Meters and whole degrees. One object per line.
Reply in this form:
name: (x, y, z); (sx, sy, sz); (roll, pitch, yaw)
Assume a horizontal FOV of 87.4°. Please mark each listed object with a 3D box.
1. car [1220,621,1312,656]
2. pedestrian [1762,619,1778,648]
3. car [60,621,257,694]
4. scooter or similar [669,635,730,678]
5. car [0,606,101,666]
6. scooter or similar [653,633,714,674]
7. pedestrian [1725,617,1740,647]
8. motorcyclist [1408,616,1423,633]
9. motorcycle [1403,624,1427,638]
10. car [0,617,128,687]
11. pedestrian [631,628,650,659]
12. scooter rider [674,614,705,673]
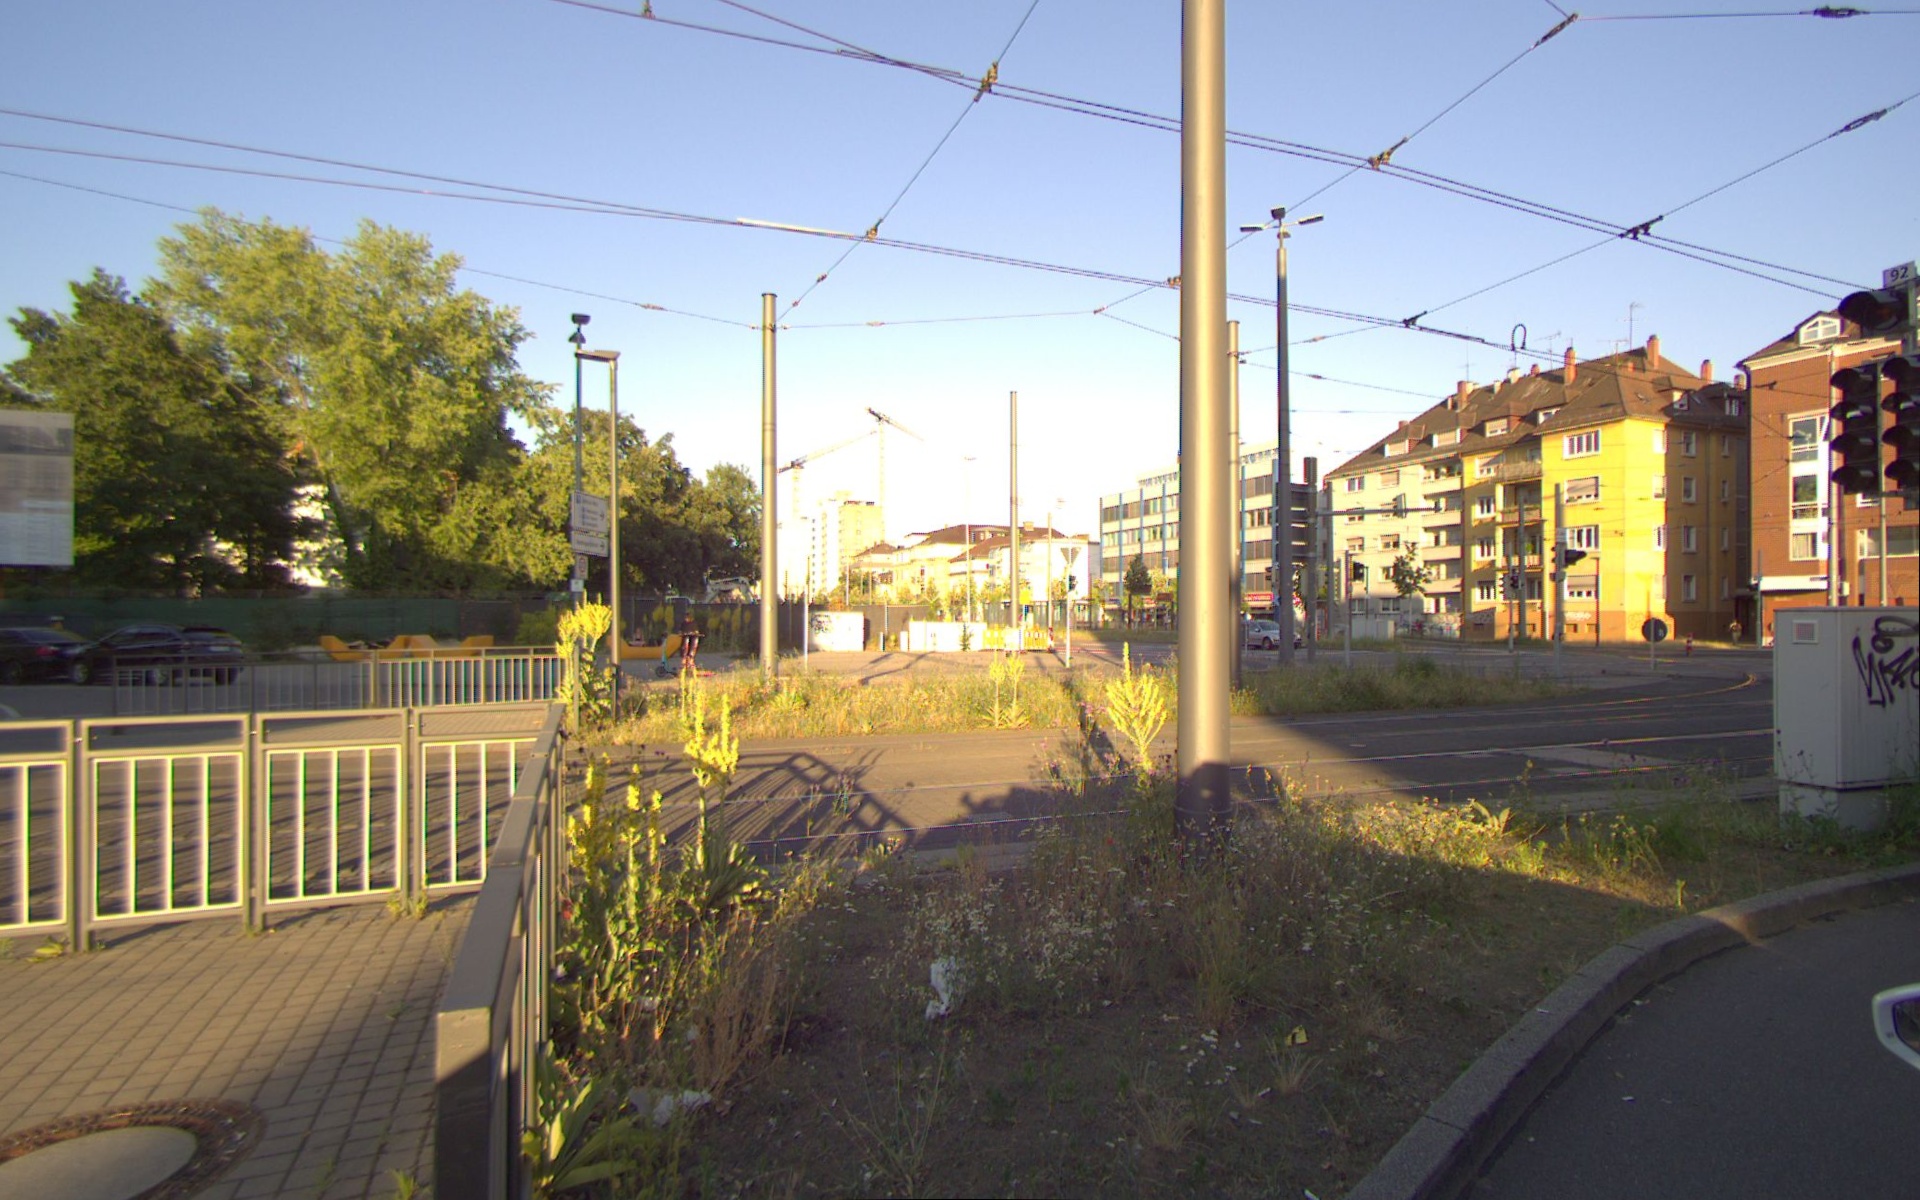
car: (15.074, 1.852, 49.663); (1.973, 1.572, 4.325); (0, 0, -25)
pedestrian: (47.287, 1.930, 58.647); (0.493, 1.664, 0.550); (0, 1, -19)
car: (-19.811, 1.366, 24.867); (3.920, 1.567, 2.000); (1, 1, 18)
scooter or similar: (-7.113, 1.520, 27.473); (1.612, 1.097, 0.421); (0, 1, -43)
car: (-32.968, 1.251, 35.157); (3.942, 2.040, 1.990); (0, -1, -22)
scooter or similar: (-7.642, 1.470, 27.827); (1.612, 1.077, 0.421); (0, 1, -43)
pedestrian: (45.701, 1.907, 59.417); (0.658, 1.766, 0.687); (1, 0, 40)
motorcyclist: (34.019, 1.842, 75.034); (0.777, 1.237, 0.702); (0, 1, -24)
motorcycle: (33.986, 2.308, 75.024); (0.426, 0.921, 1.829); (0, 1, -22)
car: (-24.174, 1.308, 26.231); (3.920, 1.598, 2.000); (1, 1, 18)
pedestrian: (-13.075, 1.791, 41.104); (0.694, 1.227, 0.723); (0, 1, -19)
scooter rider: (-7.515, 1.193, 27.911); (0.652, 1.614, 0.580); (0, 1, -39)
